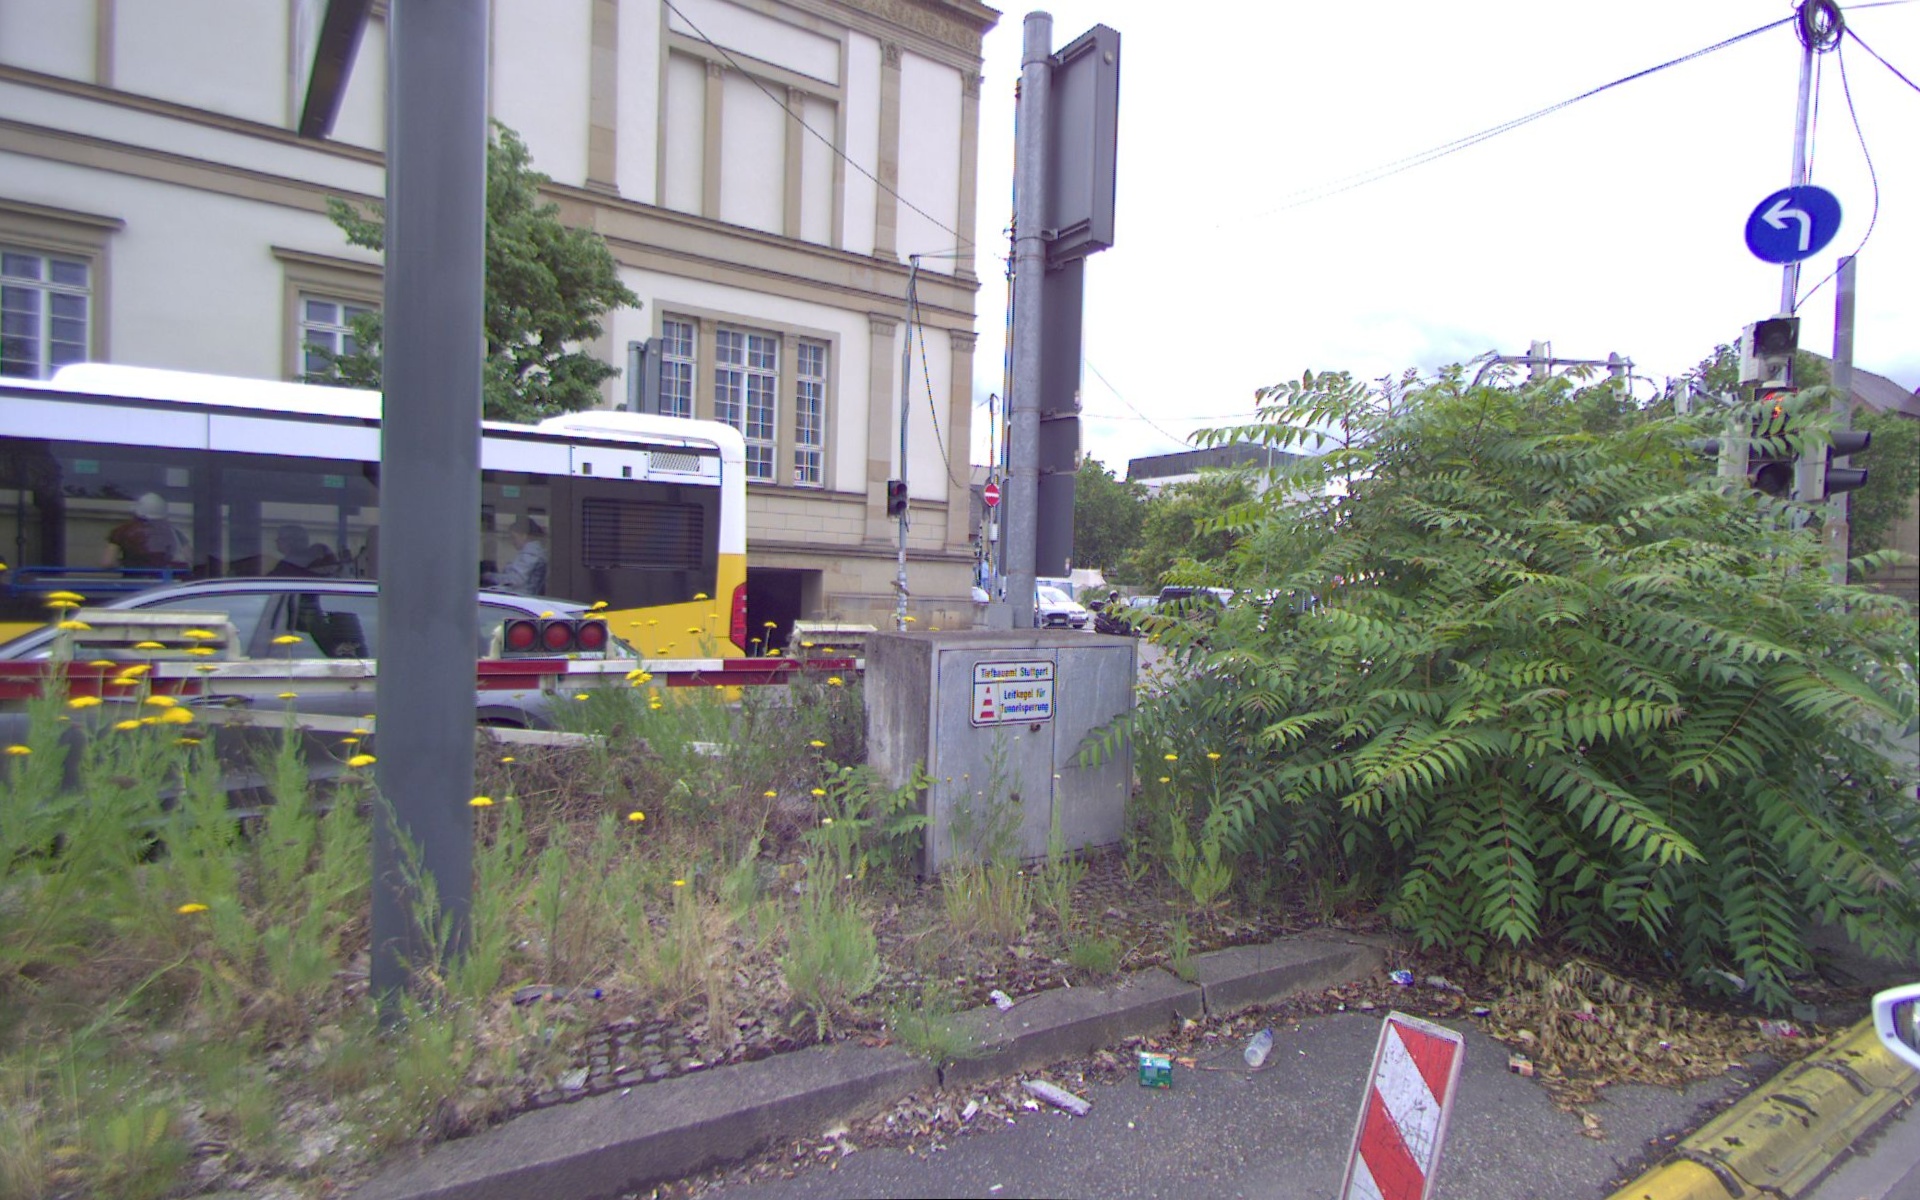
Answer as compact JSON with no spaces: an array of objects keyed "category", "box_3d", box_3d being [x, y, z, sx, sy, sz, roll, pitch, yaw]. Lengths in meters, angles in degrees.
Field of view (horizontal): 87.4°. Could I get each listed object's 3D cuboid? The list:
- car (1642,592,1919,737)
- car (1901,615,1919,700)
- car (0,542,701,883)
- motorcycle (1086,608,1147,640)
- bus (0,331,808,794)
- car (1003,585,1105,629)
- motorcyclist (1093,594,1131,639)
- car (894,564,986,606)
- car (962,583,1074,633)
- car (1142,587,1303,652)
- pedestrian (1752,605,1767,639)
[{"category":"car","box_3d":[11.546,0.796,13.940,4.396,1.692,1.867,1,1,-33]},{"category":"car","box_3d":[19.605,1.110,18.992,4.243,1.534,1.696,1,1,-34]},{"category":"car","box_3d":[-3.862,0.551,5.858,4.244,1.533,1.696,1,-2,-34]},{"category":"motorcycle","box_3d":[5.080,0.765,32.650,0.749,0.937,2.042,1,1,-35]},{"category":"bus","box_3d":[-6.089,-0.251,8.776,9.017,3.156,2.831,1,1,-31]},{"category":"car","box_3d":[3.893,0.260,42.104,1.979,1.698,4.285,1,1,-34]},{"category":"motorcyclist","box_3d":[4.965,0.536,32.815,0.738,1.442,0.959,1,1,-35]},{"category":"car","box_3d":[-0.935,-0.670,43.683,1.979,1.698,4.285,1,1,-34]},{"category":"car","box_3d":[2.100,0.259,37.506,1.979,1.698,4.285,1,1,-34]},{"category":"car","box_3d":[7.553,0.521,29.277,1.979,1.698,4.285,1,1,-34]},{"category":"pedestrian","box_3d":[49.750,1.362,62.507,0.516,2.040,0.428,2,1,17]}]
